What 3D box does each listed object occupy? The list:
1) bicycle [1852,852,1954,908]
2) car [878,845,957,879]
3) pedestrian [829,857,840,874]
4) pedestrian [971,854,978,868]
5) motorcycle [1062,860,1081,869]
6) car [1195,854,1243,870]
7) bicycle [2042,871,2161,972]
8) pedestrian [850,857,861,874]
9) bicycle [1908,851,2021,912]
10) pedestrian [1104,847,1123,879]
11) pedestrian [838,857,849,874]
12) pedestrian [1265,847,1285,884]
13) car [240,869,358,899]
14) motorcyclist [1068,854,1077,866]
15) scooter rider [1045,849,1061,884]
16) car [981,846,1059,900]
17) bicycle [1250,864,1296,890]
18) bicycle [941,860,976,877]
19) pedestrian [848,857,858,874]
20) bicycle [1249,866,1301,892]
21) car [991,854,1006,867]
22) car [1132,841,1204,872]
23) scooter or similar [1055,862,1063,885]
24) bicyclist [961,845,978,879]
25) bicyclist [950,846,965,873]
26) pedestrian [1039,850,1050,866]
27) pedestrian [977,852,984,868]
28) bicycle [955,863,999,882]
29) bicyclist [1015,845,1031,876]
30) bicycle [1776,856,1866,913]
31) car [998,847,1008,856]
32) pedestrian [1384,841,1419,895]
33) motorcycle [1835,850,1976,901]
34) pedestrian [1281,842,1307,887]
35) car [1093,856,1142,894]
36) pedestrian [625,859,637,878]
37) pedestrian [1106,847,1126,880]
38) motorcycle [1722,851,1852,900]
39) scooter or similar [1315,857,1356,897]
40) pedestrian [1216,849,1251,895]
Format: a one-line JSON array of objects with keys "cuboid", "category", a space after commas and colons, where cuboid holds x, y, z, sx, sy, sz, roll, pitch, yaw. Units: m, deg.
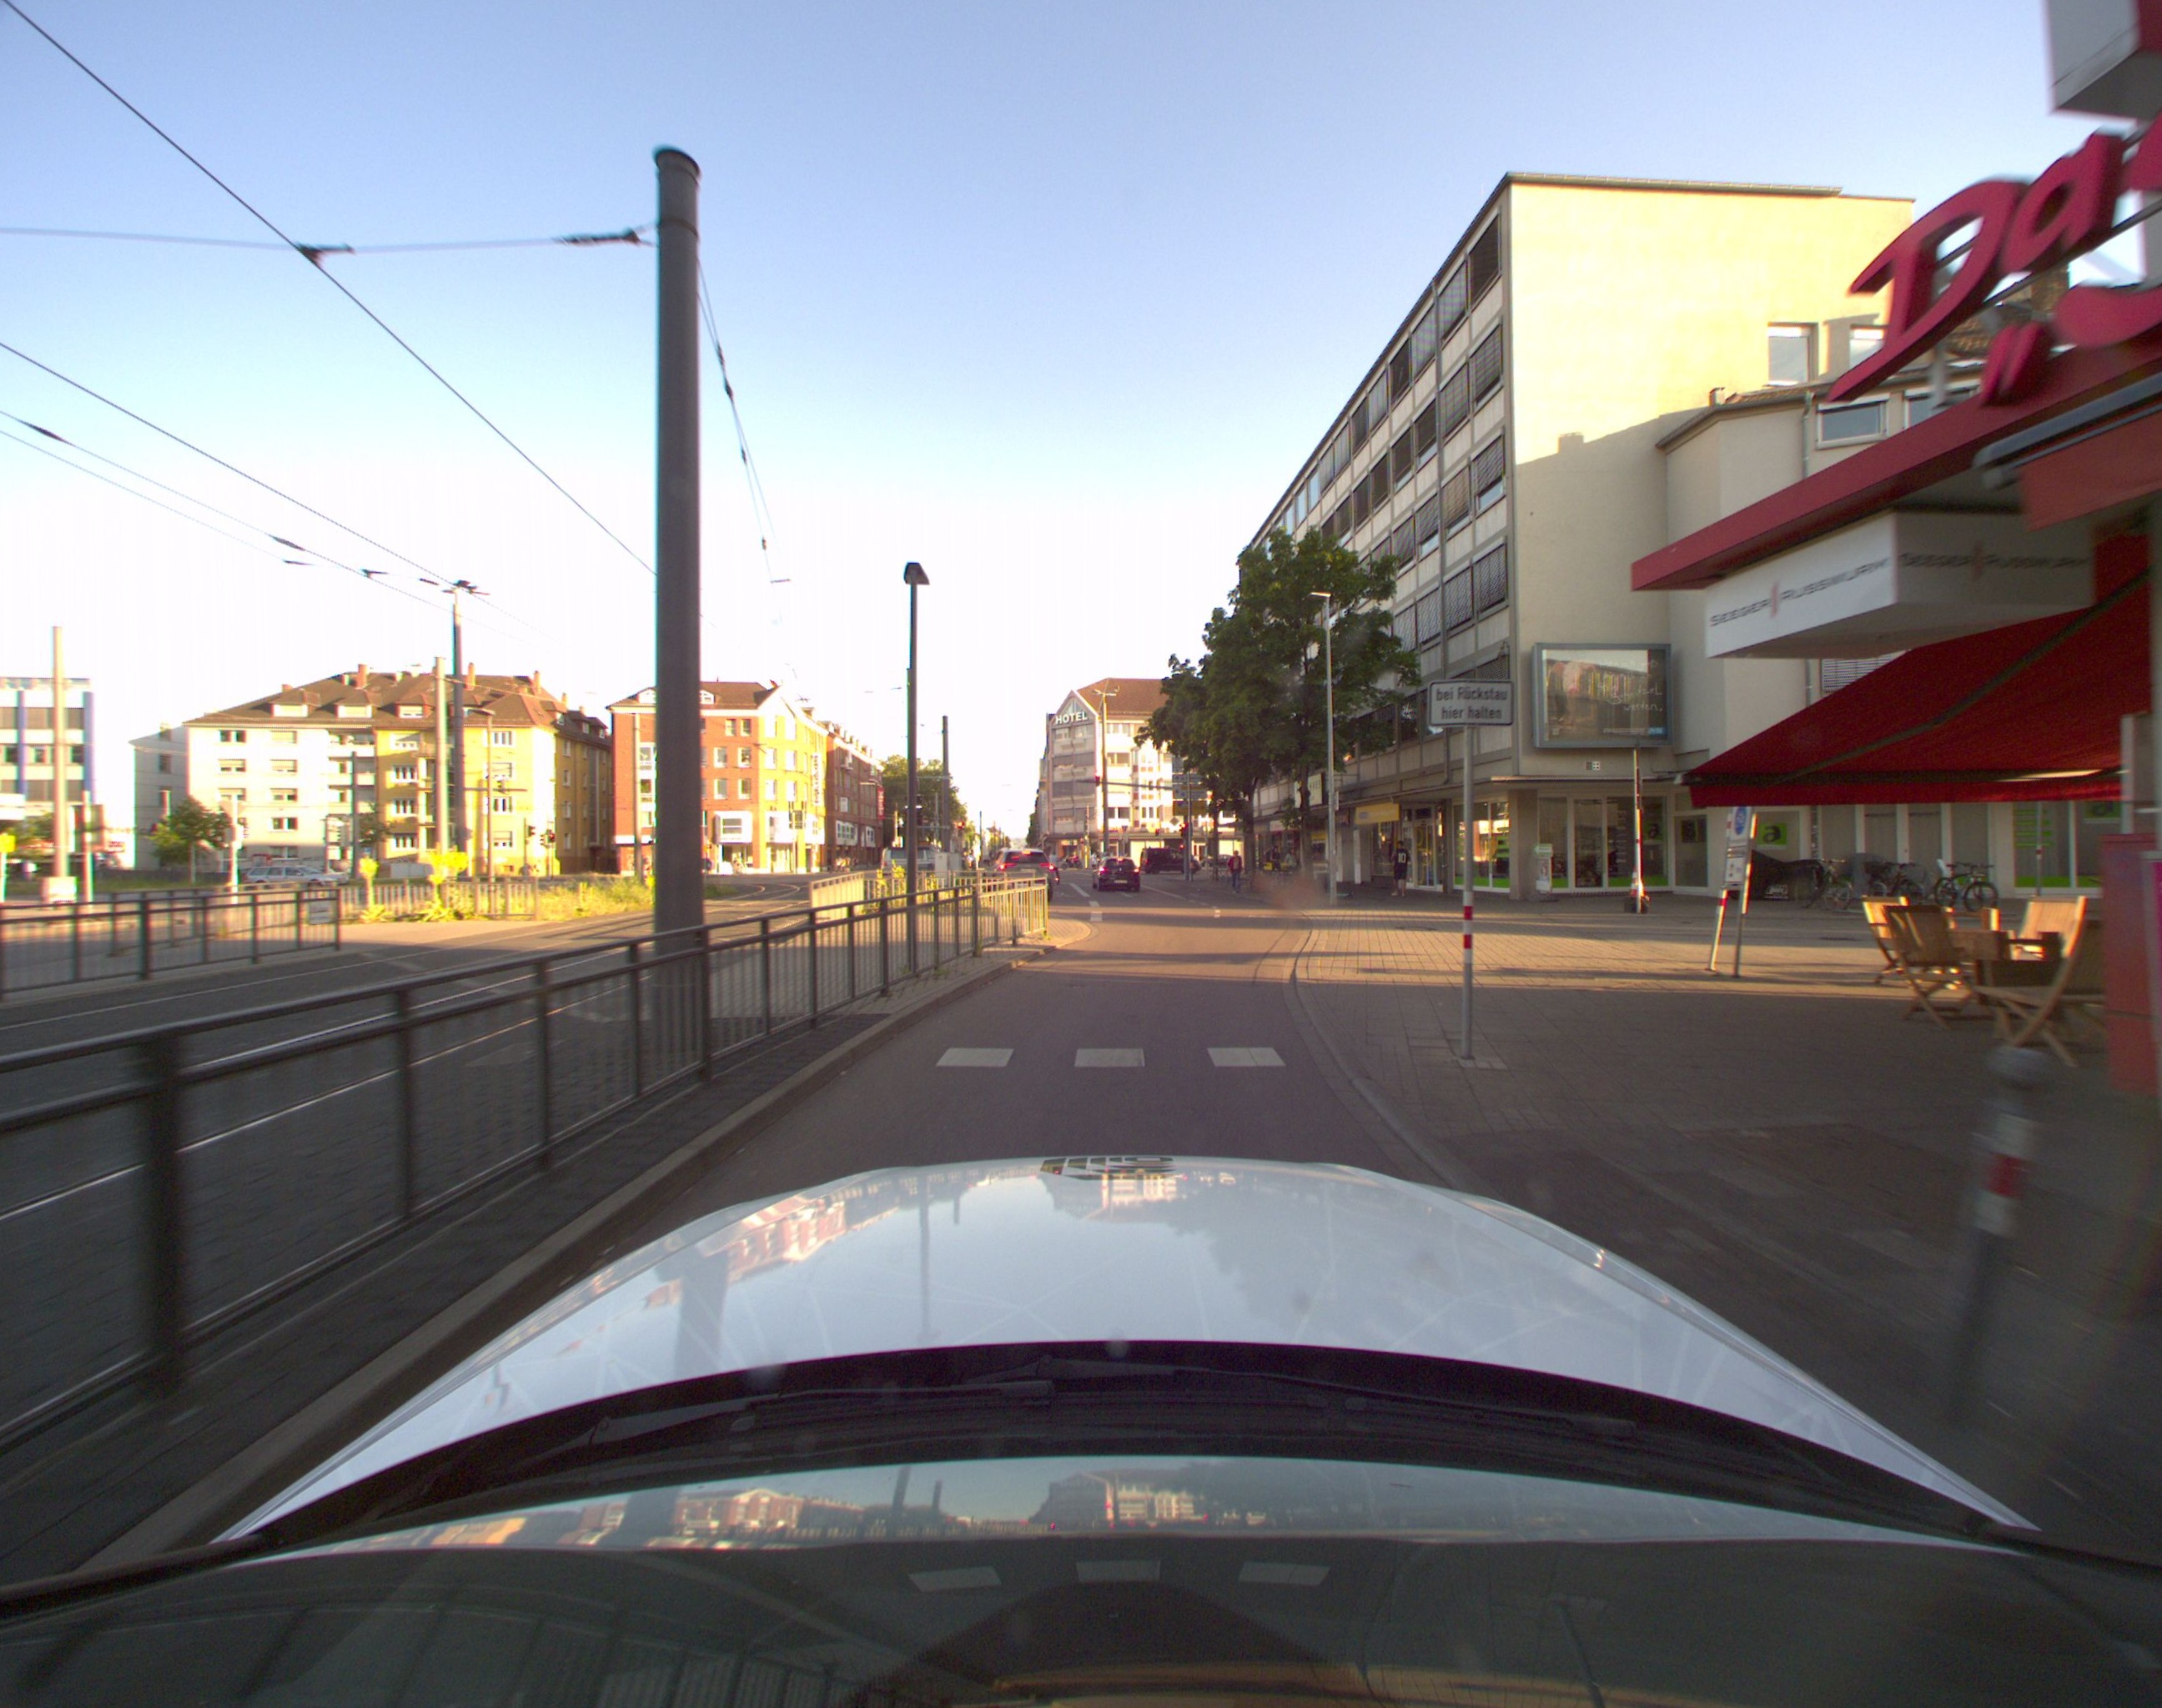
[{"cuboid": [17.501, 0.530, 17.401, 0.622, 1.113, 1.927, 1, -1, 14], "category": "bicycle"}, {"cuboid": [-10.381, 0.508, 51.700, 4.698, 2.013, 1.987, -1, 0, -19], "category": "car"}, {"cuboid": [-28.659, 1.318, 94.785, 1.092, 2.014, 0.906, 1, -1, -7], "category": "pedestrian"}, {"cuboid": [-12.381, 0.794, 94.422, 0.699, 1.664, 0.807, 1, -1, -3], "category": "pedestrian"}, {"cuboid": [-0.945, 1.033, 80.075, 1.833, 0.908, 0.431, 1, -1, -9], "category": "motorcycle"}, {"cuboid": [14.091, 0.846, 83.195, 4.548, 1.620, 1.993, 0, -1, -7], "category": "car"}, {"cuboid": [12.833, 0.796, 9.820, 1.899, 1.159, 0.536, 0, -1, -2], "category": "bicycle"}, {"cuboid": [-27.733, 1.399, 100.018, 1.092, 2.014, 1.160, 1, -1, -7], "category": "pedestrian"}, {"cuboid": [18.468, 0.541, 17.094, 0.622, 1.112, 1.928, 1, 3, 14], "category": "bicycle"}, {"cuboid": [1.839, 0.508, 46.334, 0.992, 1.830, 0.728, 1, -1, -4], "category": "pedestrian"}, {"cuboid": [-28.142, 1.347, 96.504, 1.092, 2.014, 0.906, 1, -1, -7], "category": "pedestrian"}, {"cuboid": [9.277, 0.552, 39.027, 0.744, 1.778, 0.799, 1, -1, -3], "category": "pedestrian"}, {"cuboid": [-43.878, 1.663, 45.796, 4.341, 1.551, 1.992, 0, -1, -12], "category": "car"}, {"cuboid": [-0.814, 0.603, 80.085, 0.704, 1.220, 0.786, 1, -1, -10], "category": "motorcyclist"}, {"cuboid": [-1.339, 0.613, 39.132, 0.659, 1.647, 0.662, 1, -1, 4], "category": "scooter rider"}, {"cuboid": [-2.099, 0.579, 26.787, 1.838, 1.636, 4.069, 0, 0, -15], "category": "car"}, {"cuboid": [7.280, 0.870, 30.870, 1.650, 0.974, 0.386, 1, -1, 2], "category": "bicycle"}, {"cuboid": [-7.254, 0.856, 48.135, 2.036, 1.028, 0.416, 0, -1, -10], "category": "bicycle"}, {"cuboid": [-26.728, 1.358, 95.509, 0.975, 2.014, 0.906, 1, -1, -7], "category": "pedestrian"}, {"cuboid": [7.101, 0.916, 29.904, 1.810, 0.891, 0.415, 1, -1, 2], "category": "bicycle"}, {"cuboid": [-11.491, 0.889, 113.941, 1.807, 1.746, 3.711, 1, -1, -3], "category": "car"}, {"cuboid": [5.985, 0.188, 56.286, 4.570, 2.036, 1.989, -1, 0, -17], "category": "car"}, {"cuboid": [-1.047, 0.914, 39.138, 0.278, 1.091, 1.258, 1, -1, 3], "category": "scooter or similar"}, {"cuboid": [-6.702, 0.506, 49.075, 0.864, 2.014, 0.641, 1, -1, -24], "category": "bicyclist"}, {"cuboid": [-7.301, 0.329, 48.064, 0.706, 1.511, 0.546, -3, 0, -21], "category": "bicyclist"}, {"cuboid": [-4.082, 0.421, 90.681, 0.842, 1.726, 0.940, 0, -1, 45], "category": "pedestrian"}, {"cuboid": [-11.576, 0.698, 93.705, 0.699, 1.823, 0.807, 1, -1, -3], "category": "pedestrian"}, {"cuboid": [-6.268, 1.114, 49.199, 2.652, 1.099, 0.432, 1, -1, -24], "category": "bicycle"}, {"cuboid": [-3.541, 0.421, 49.894, 0.860, 1.878, 0.644, 1, -1, -11], "category": "bicyclist"}, {"cuboid": [16.229, 0.638, 17.932, 0.579, 1.112, 2.014, -1, 2, 14], "category": "bicycle"}, {"cuboid": [-17.322, -0.603, 179.937, 1.989, 1.901, 3.995, 1, -1, -3], "category": "car"}, {"cuboid": [10.119, 0.440, 25.728, 0.744, 1.684, 0.893, 1, -1, -3], "category": "pedestrian"}, {"cuboid": [19.467, 0.496, 19.282, 2.249, 1.158, 0.743, -1, 0, 18], "category": "motorcycle"}, {"cuboid": [8.479, 0.424, 32.436, 0.744, 1.778, 0.972, 1, -1, -3], "category": "pedestrian"}, {"cuboid": [1.479, 0.831, 34.357, 1.759, 1.440, 3.998, -1, 0, -1], "category": "car"}, {"cuboid": [-40.856, 1.328, 73.920, 0.682, 1.743, 0.672, -1, -2, 28], "category": "pedestrian"}, {"cuboid": [1.951, 0.526, 45.535, 0.992, 1.830, 0.728, 1, -1, -4], "category": "pedestrian"}, {"cuboid": [17.216, 0.518, 19.926, 2.269, 1.168, 0.814, -1, 0, 18], "category": "motorcycle"}, {"cuboid": [7.950, 0.717, 25.474, 1.205, 1.218, 0.296, -2, -3, 42], "category": "scooter or similar"}, {"cuboid": [5.739, 0.677, 30.622, 0.828, 1.685, 1.039, 1, -1, -27], "category": "pedestrian"}]
